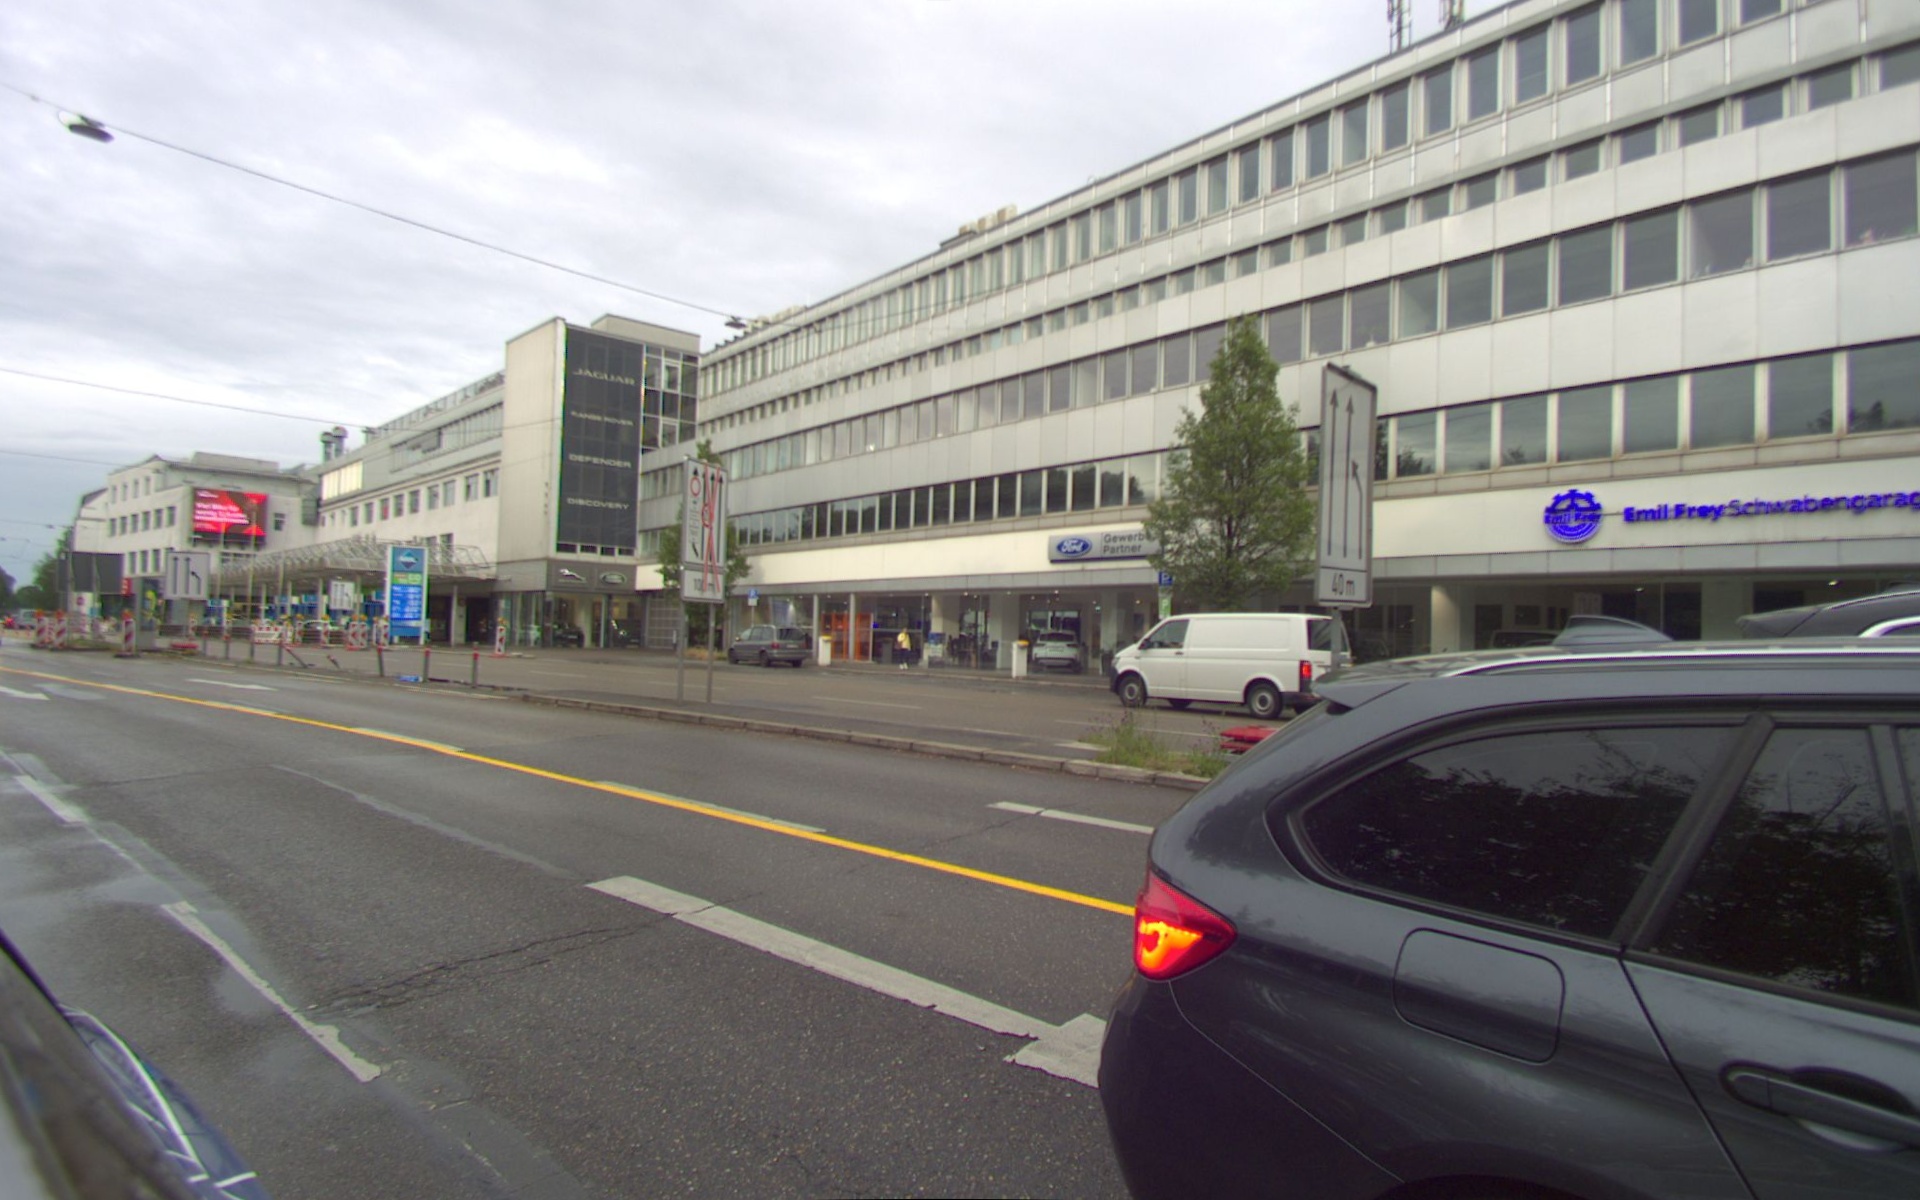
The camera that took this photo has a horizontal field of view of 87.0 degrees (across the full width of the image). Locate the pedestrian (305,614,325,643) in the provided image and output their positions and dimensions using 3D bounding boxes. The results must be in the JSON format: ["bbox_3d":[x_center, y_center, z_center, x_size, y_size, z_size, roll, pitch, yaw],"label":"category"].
[{"bbox_3d":[-42.564,1.864,66.777,0.882,1.828,0.942,-1,0,-45],"label":"pedestrian"}]

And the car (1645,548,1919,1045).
[{"bbox_3d":[4.879,0.638,3.038,4.445,1.668,1.789,-1,0,44],"label":"car"}]

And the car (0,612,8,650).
[{"bbox_3d":[-43.687,1.377,44.955,3.948,1.629,1.747,-1,0,43],"label":"car"}]

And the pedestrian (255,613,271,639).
[{"bbox_3d":[-49.876,1.856,72.398,0.881,1.828,0.943,-1,0,-35],"label":"pedestrian"}]

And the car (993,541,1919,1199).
[{"bbox_3d":[2.308,0.691,1.118,4.476,1.469,1.757,-1,-3,42],"label":"car"}]

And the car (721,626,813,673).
[{"bbox_3d":[-8.283,2.073,43.202,1.895,1.829,4.169,-1,0,-44],"label":"car"}]

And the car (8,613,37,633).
[{"bbox_3d":[-82.130,2.020,88.627,3.378,1.657,1.587,-1,0,42],"label":"car"}]

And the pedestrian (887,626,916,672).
[{"bbox_3d":[-2.323,1.935,40.233,0.750,1.788,0.865,-1,0,-42],"label":"pedestrian"}]

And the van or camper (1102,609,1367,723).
[{"bbox_3d":[5.195,1.189,19.648,1.912,1.938,4.689,3,-3,-43],"label":"van or camper"}]
